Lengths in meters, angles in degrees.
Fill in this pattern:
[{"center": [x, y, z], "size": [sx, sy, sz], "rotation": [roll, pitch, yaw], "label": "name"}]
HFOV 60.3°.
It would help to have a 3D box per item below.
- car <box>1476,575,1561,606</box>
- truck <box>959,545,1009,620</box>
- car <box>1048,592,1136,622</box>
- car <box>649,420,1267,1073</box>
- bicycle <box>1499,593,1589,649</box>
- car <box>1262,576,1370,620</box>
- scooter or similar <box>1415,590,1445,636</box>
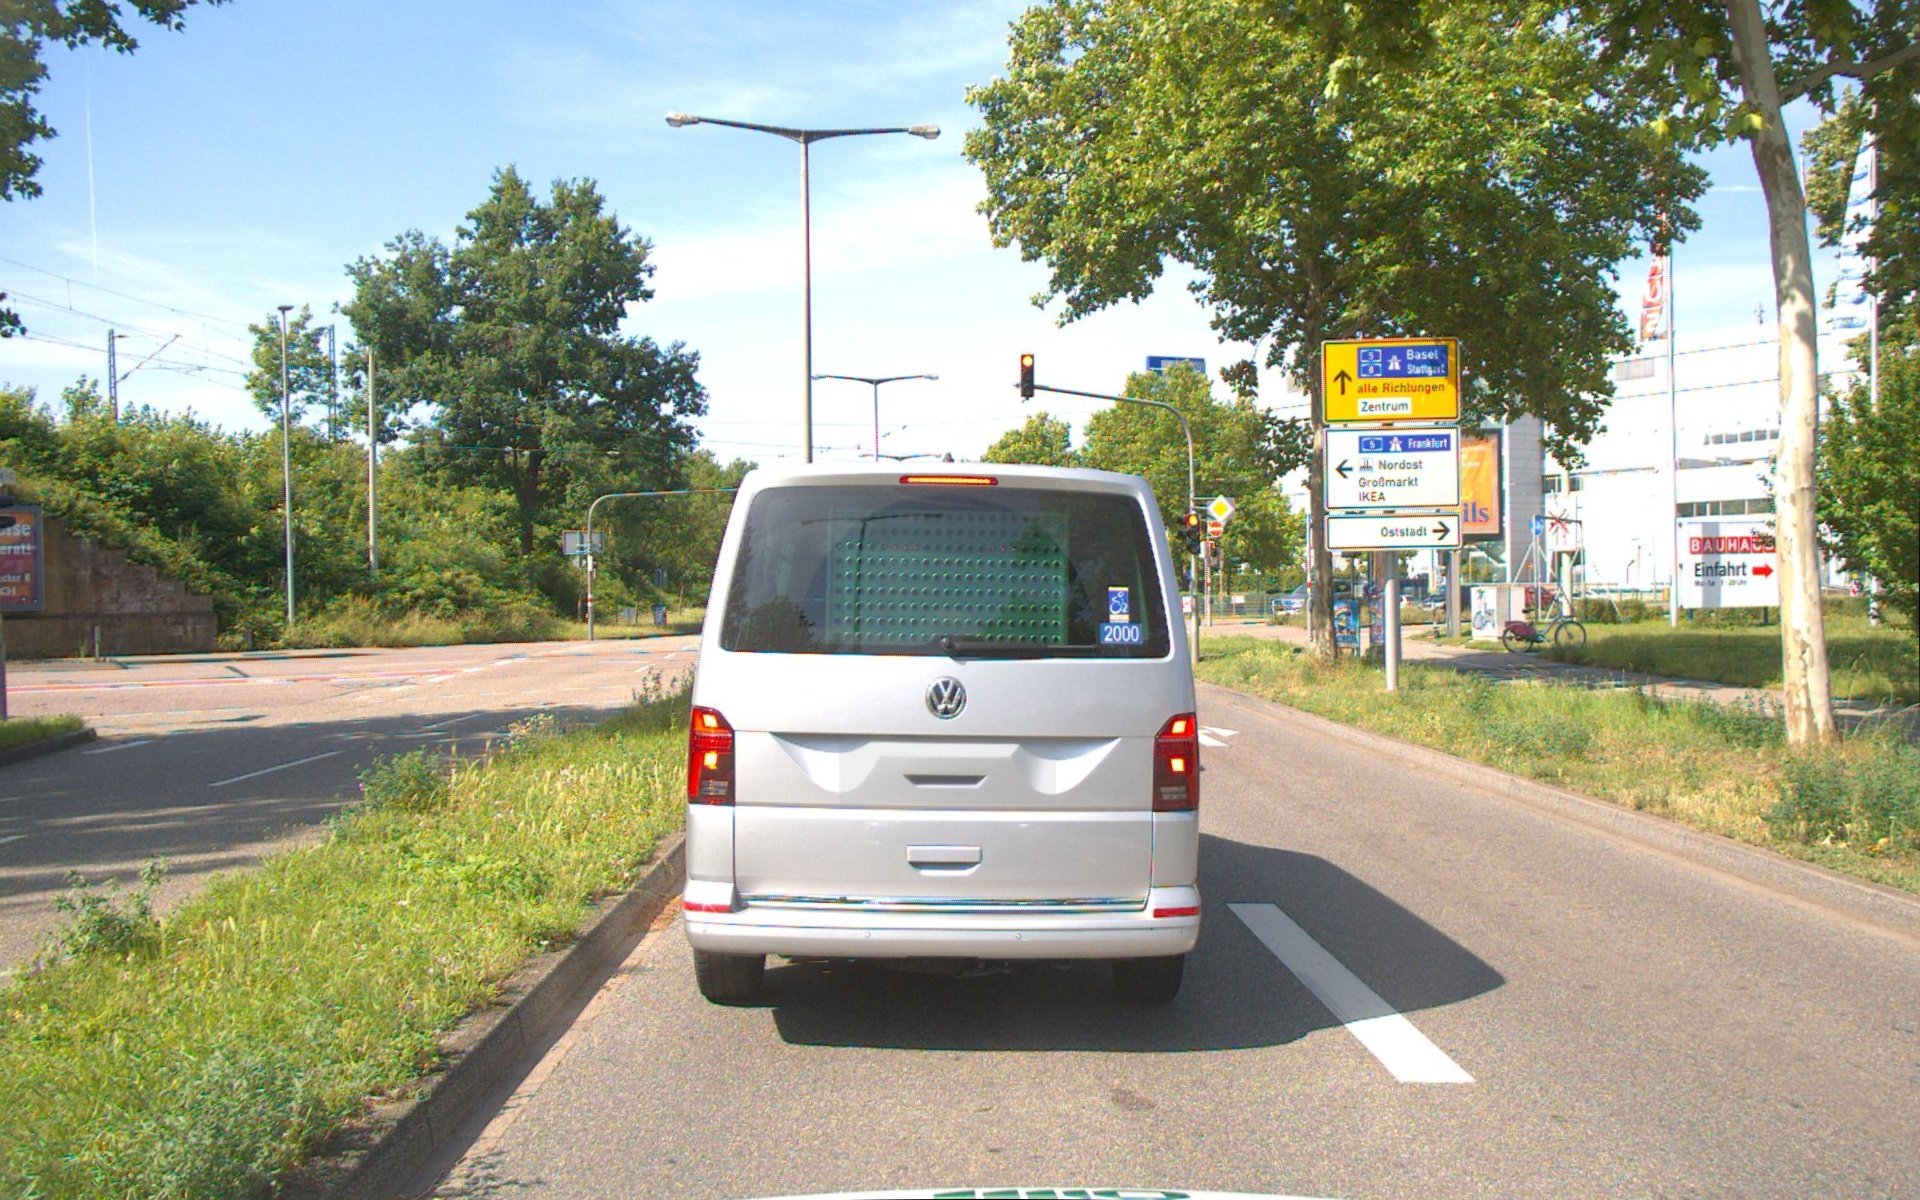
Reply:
[{"center": [27.856, -0.491, 82.459], "size": [4.578, 1.469, 1.758], "rotation": [-1, 0, -38], "label": "car"}, {"center": [1.272, -0.954, 93.439], "size": [2.501, 4.026, 8.972], "rotation": [-1, 0, -1], "label": "truck"}, {"center": [7.020, 0.380, 88.407], "size": [4.544, 1.469, 1.771], "rotation": [-1, 0, 42], "label": "car"}, {"center": [-0.038, 0.444, 7.630], "size": [1.902, 2.006, 5.021], "rotation": [0, 0, -1], "label": "car"}, {"center": [12.505, 0.454, 35.443], "size": [1.748, 1.127, 0.504], "rotation": [-3, -1, 18], "label": "bicycle"}, {"center": [14.868, -0.101, 69.036], "size": [4.578, 1.718, 1.890], "rotation": [-1, 0, -38], "label": "car"}, {"center": [12.092, 0.324, 42.569], "size": [0.416, 1.146, 1.123], "rotation": [-1, 0, -2], "label": "scooter or similar"}]
